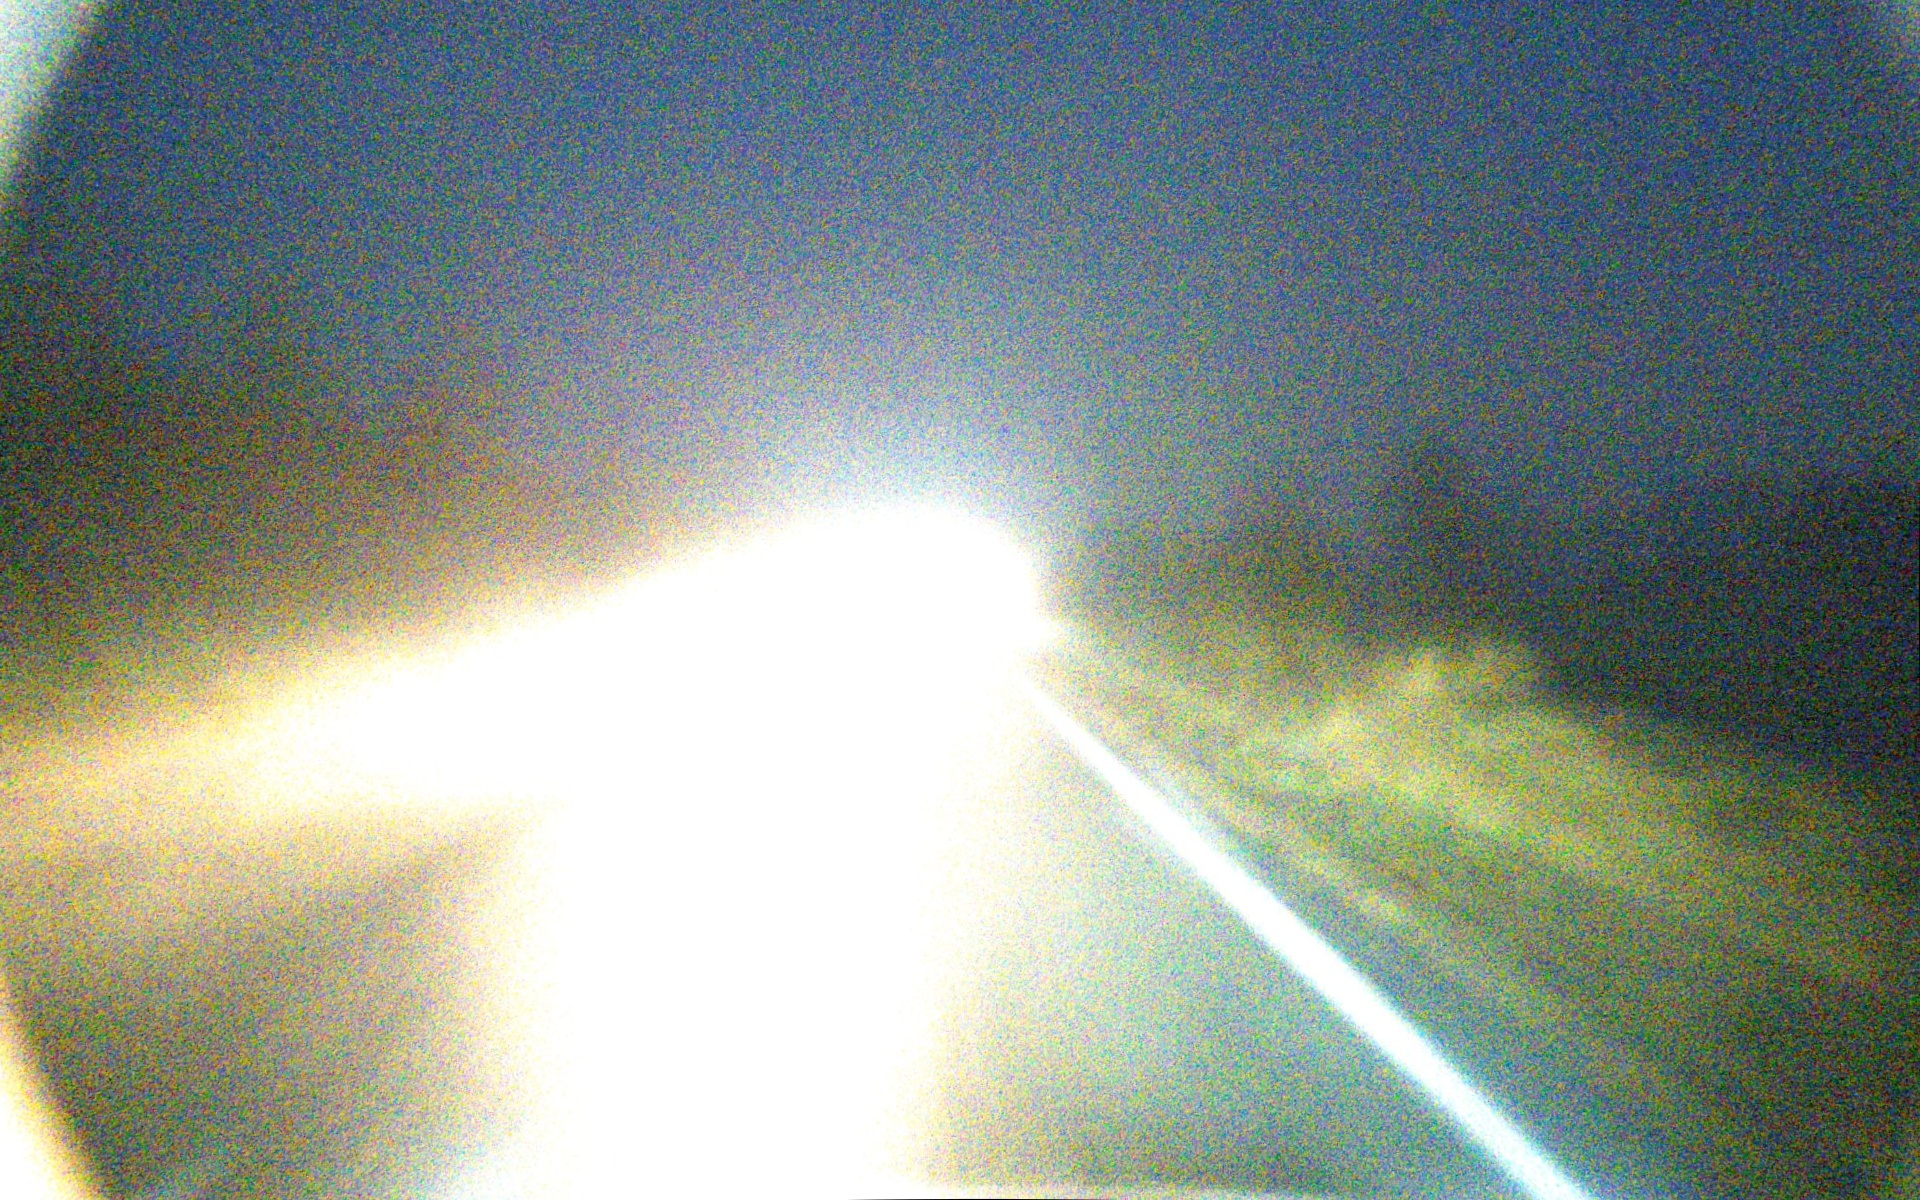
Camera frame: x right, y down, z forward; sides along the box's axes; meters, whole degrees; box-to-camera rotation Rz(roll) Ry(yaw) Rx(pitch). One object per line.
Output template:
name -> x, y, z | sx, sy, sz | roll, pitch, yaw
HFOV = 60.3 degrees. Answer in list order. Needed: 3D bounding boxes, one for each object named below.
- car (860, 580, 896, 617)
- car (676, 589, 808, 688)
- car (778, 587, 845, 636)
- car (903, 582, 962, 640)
car -> -4.602, -0.058, 93.000 | 1.766, 1.962, 4.000 | 2, 0, 0
car -> -4.032, 0.686, 31.190 | 1.953, 1.690, 3.999 | 2, 0, -1
car -> -4.738, 0.370, 53.185 | 1.782, 1.467, 3.999 | 2, 0, -1
car -> -0.953, 0.332, 55.390 | 1.806, 1.770, 3.998 | 2, 1, -3
